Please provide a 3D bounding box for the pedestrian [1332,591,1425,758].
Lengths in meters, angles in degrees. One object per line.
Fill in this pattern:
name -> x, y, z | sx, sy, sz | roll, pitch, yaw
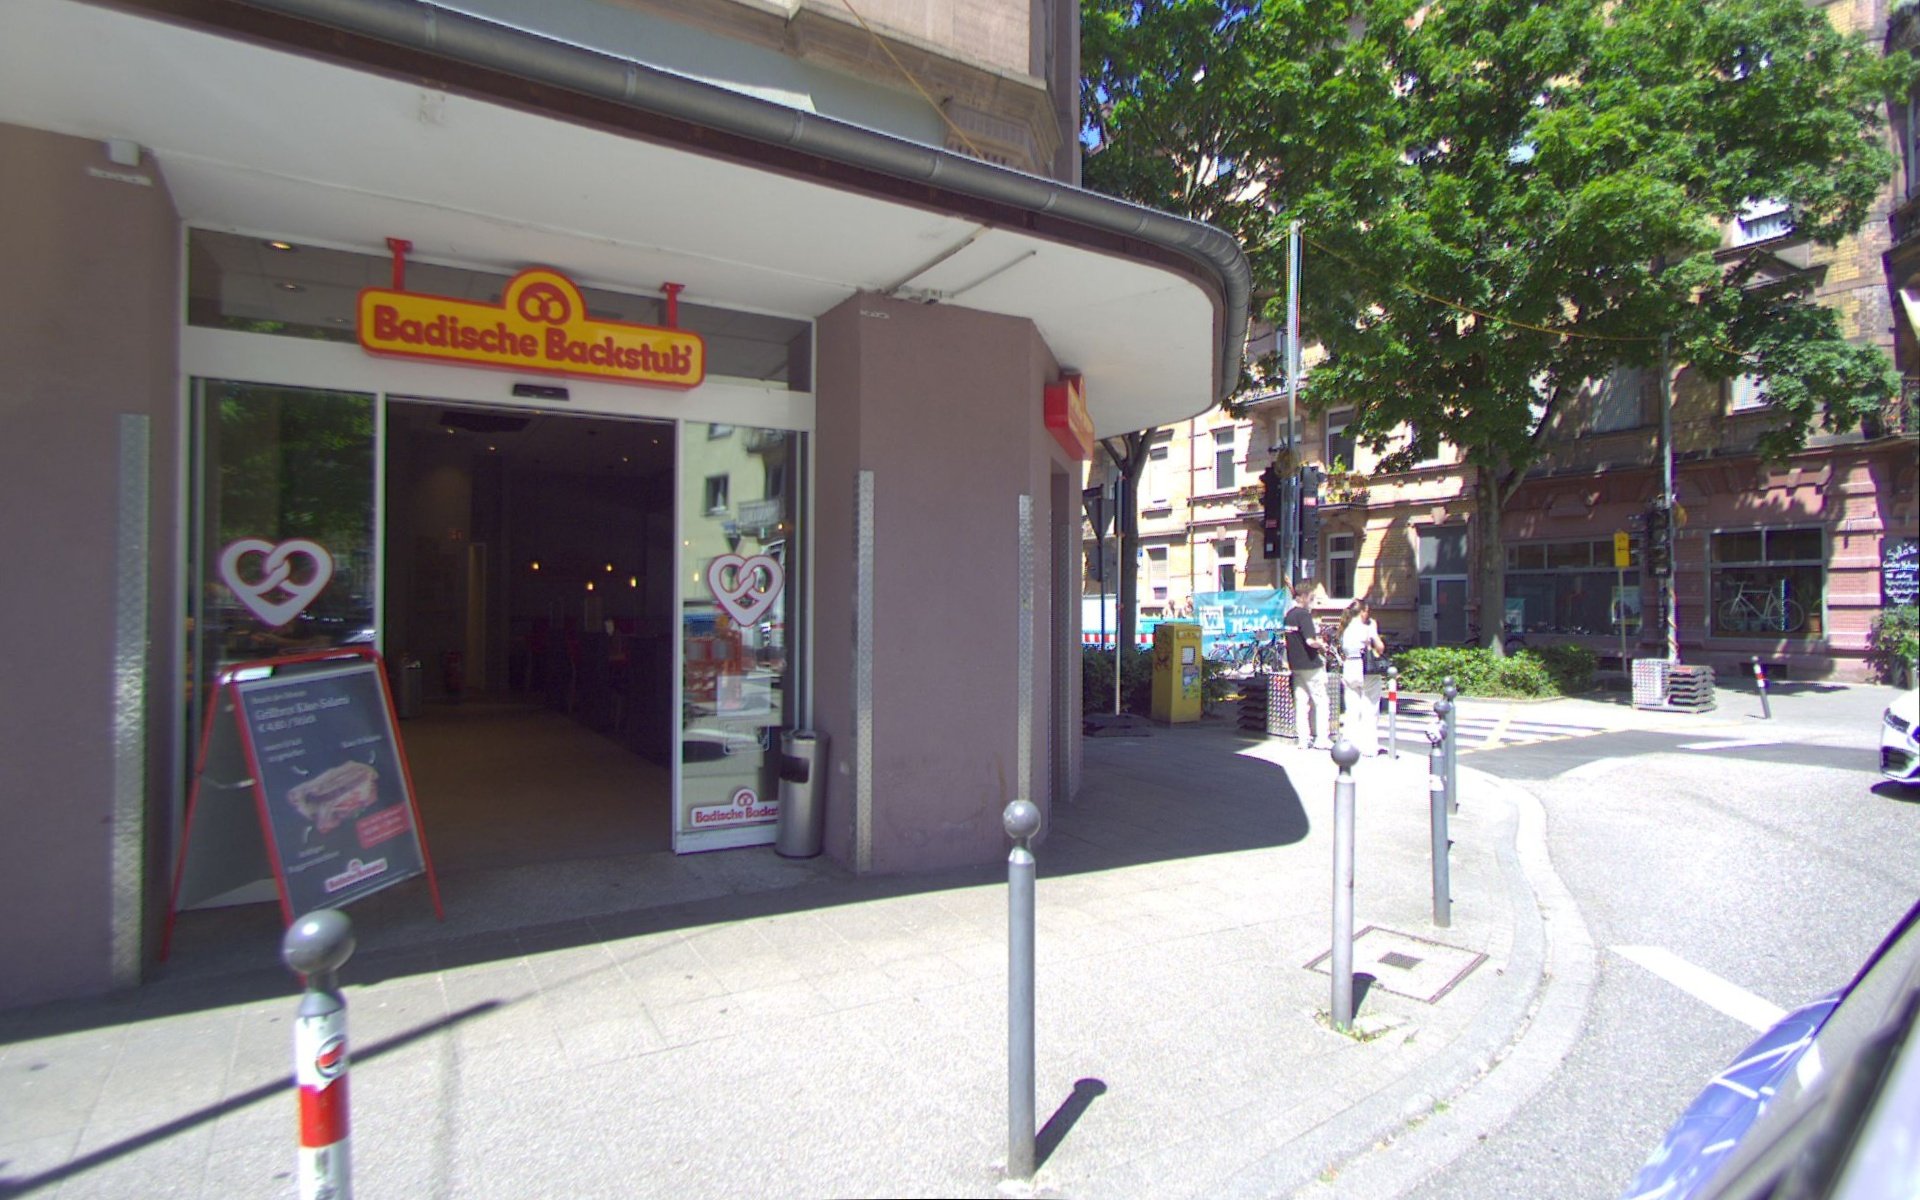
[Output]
pedestrian -> 4.398, 0.765, 10.651 | 0.415, 1.666, 0.703 | 5, -2, -39

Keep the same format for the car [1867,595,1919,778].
car -> 9.707, 0.672, 8.209 | 4.153, 1.443, 1.818 | 0, -1, -22

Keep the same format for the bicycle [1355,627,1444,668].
bicycle -> 10.298, 1.103, 23.810 | 0.499, 0.883, 2.077 | 0, -1, -27

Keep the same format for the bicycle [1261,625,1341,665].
bicycle -> 8.162, 1.055, 24.328 | 0.499, 0.883, 2.077 | 0, -1, -27

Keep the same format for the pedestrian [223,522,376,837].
pedestrian -> -3.644, 0.417, 5.616 | 0.442, 1.649, 0.552 | 0, -1, 9

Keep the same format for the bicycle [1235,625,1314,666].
bicycle -> 7.513, 1.071, 24.310 | 0.499, 0.883, 2.077 | 0, -1, -27

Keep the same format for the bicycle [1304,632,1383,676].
bicycle -> 8.496, 1.175, 22.489 | 0.499, 0.883, 1.747 | 0, -1, -27

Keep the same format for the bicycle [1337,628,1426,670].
bicycle -> 9.774, 1.120, 23.557 | 0.499, 0.883, 2.077 | 0, -1, -27

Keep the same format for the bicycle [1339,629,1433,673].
bicycle -> 9.363, 1.107, 22.312 | 0.499, 0.883, 2.077 | 0, -1, -27

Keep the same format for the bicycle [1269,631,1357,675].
bicycle -> 7.784, 1.144, 22.407 | 0.499, 0.883, 2.077 | 0, -1, -27

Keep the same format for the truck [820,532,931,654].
truck -> -3.048, -0.207, 35.731 | 2.243, 4.005, 4.481 | 0, -1, -30

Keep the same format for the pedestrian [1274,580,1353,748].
pedestrian -> 3.904, 0.692, 11.187 | 0.463, 1.791, 0.576 | 5, -2, -39

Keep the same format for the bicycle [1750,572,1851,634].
bicycle -> 16.514, 0.067, 19.911 | 0.500, 1.167, 1.428 | 0, -1, -28

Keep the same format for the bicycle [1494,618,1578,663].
bicycle -> 13.591, 0.938, 23.913 | 0.512, 1.021, 1.698 | 1, -1, -30

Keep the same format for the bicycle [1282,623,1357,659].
bicycle -> 9.481, 1.073, 26.783 | 0.499, 0.883, 2.077 | 0, -1, -27

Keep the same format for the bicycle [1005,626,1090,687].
bicycle -> 1.523, 0.982, 17.935 | 0.461, 1.009, 1.766 | 3, -2, -34

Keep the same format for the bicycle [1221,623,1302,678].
bicycle -> 6.718, 1.108, 22.639 | 0.500, 1.121, 1.783 | -1, 0, -37
